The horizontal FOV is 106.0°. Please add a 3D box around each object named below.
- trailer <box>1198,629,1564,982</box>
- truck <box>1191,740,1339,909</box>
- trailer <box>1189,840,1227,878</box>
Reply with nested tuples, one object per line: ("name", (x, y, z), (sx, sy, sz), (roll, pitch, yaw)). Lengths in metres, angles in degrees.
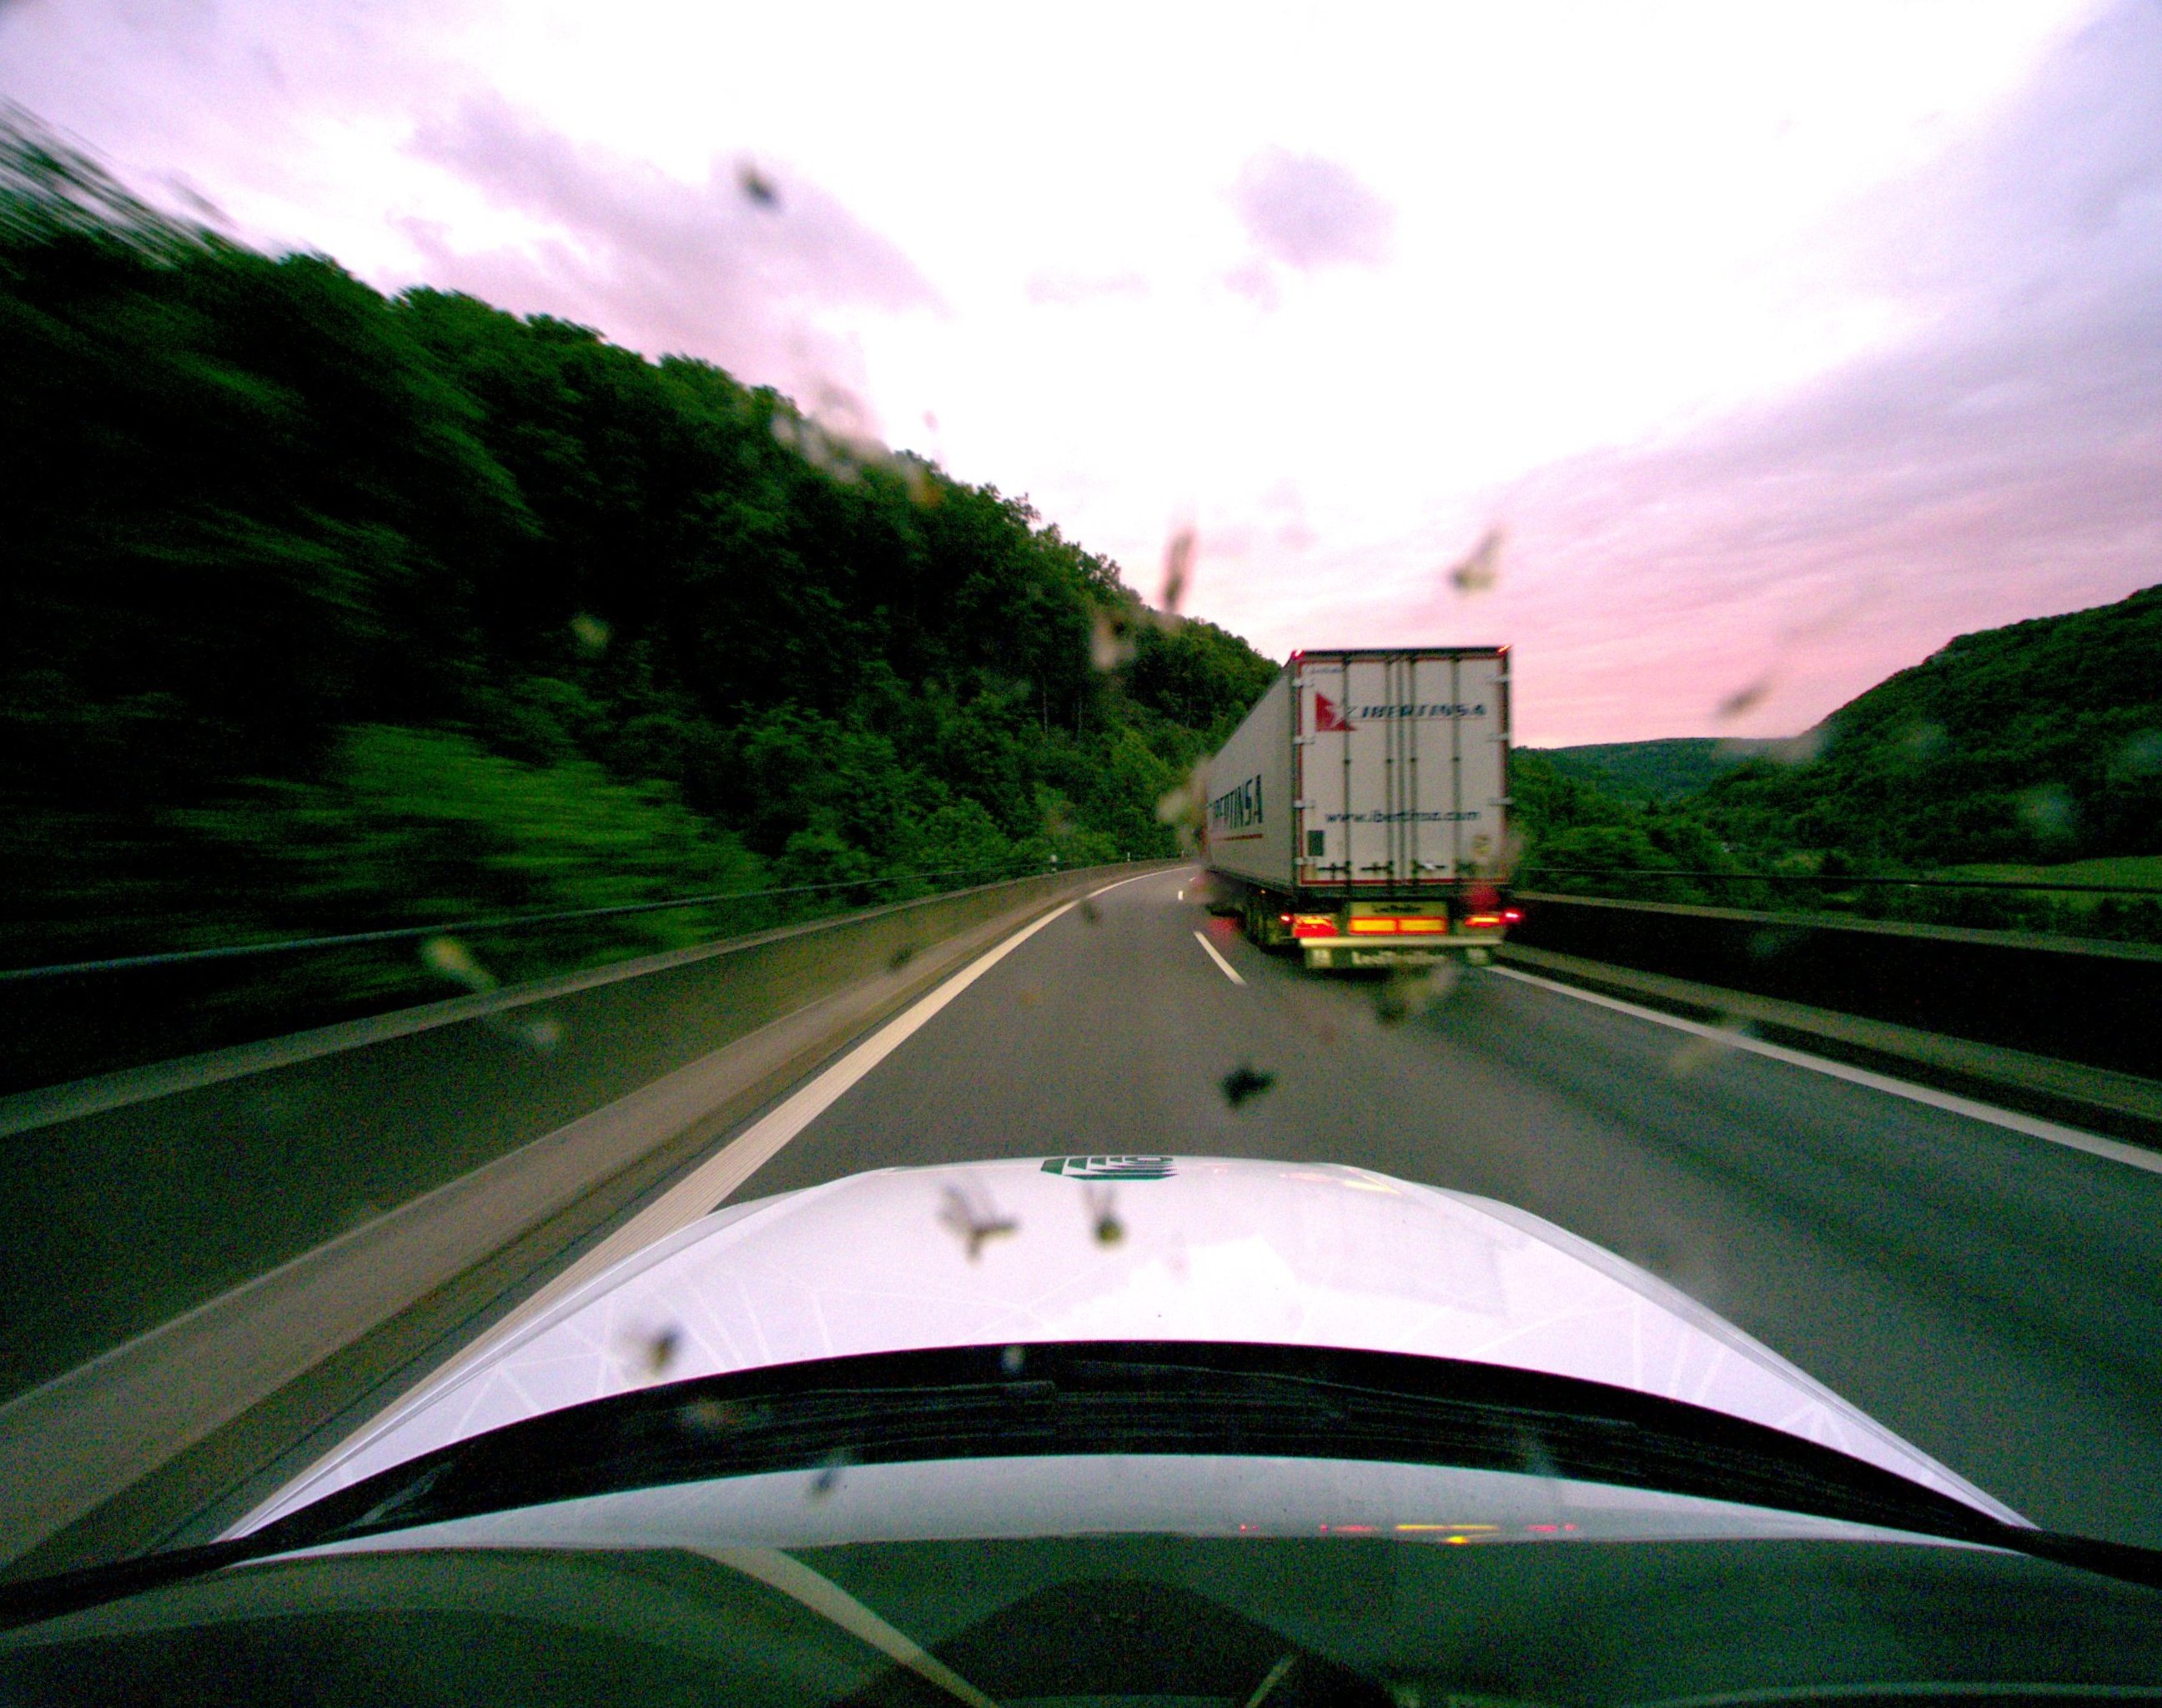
("trailer", (4.461, -0.590, 16.480), (3.083, 3.970, 14.235), (-2, 0, 4))
("truck", (4.970, -0.704, 23.374), (3.056, 4.145, 6.452), (-1, -1, 3))
("trailer", (8.539, 0.258, 54.373), (2.040, 2.374, 5.960), (0, 1, 13))
